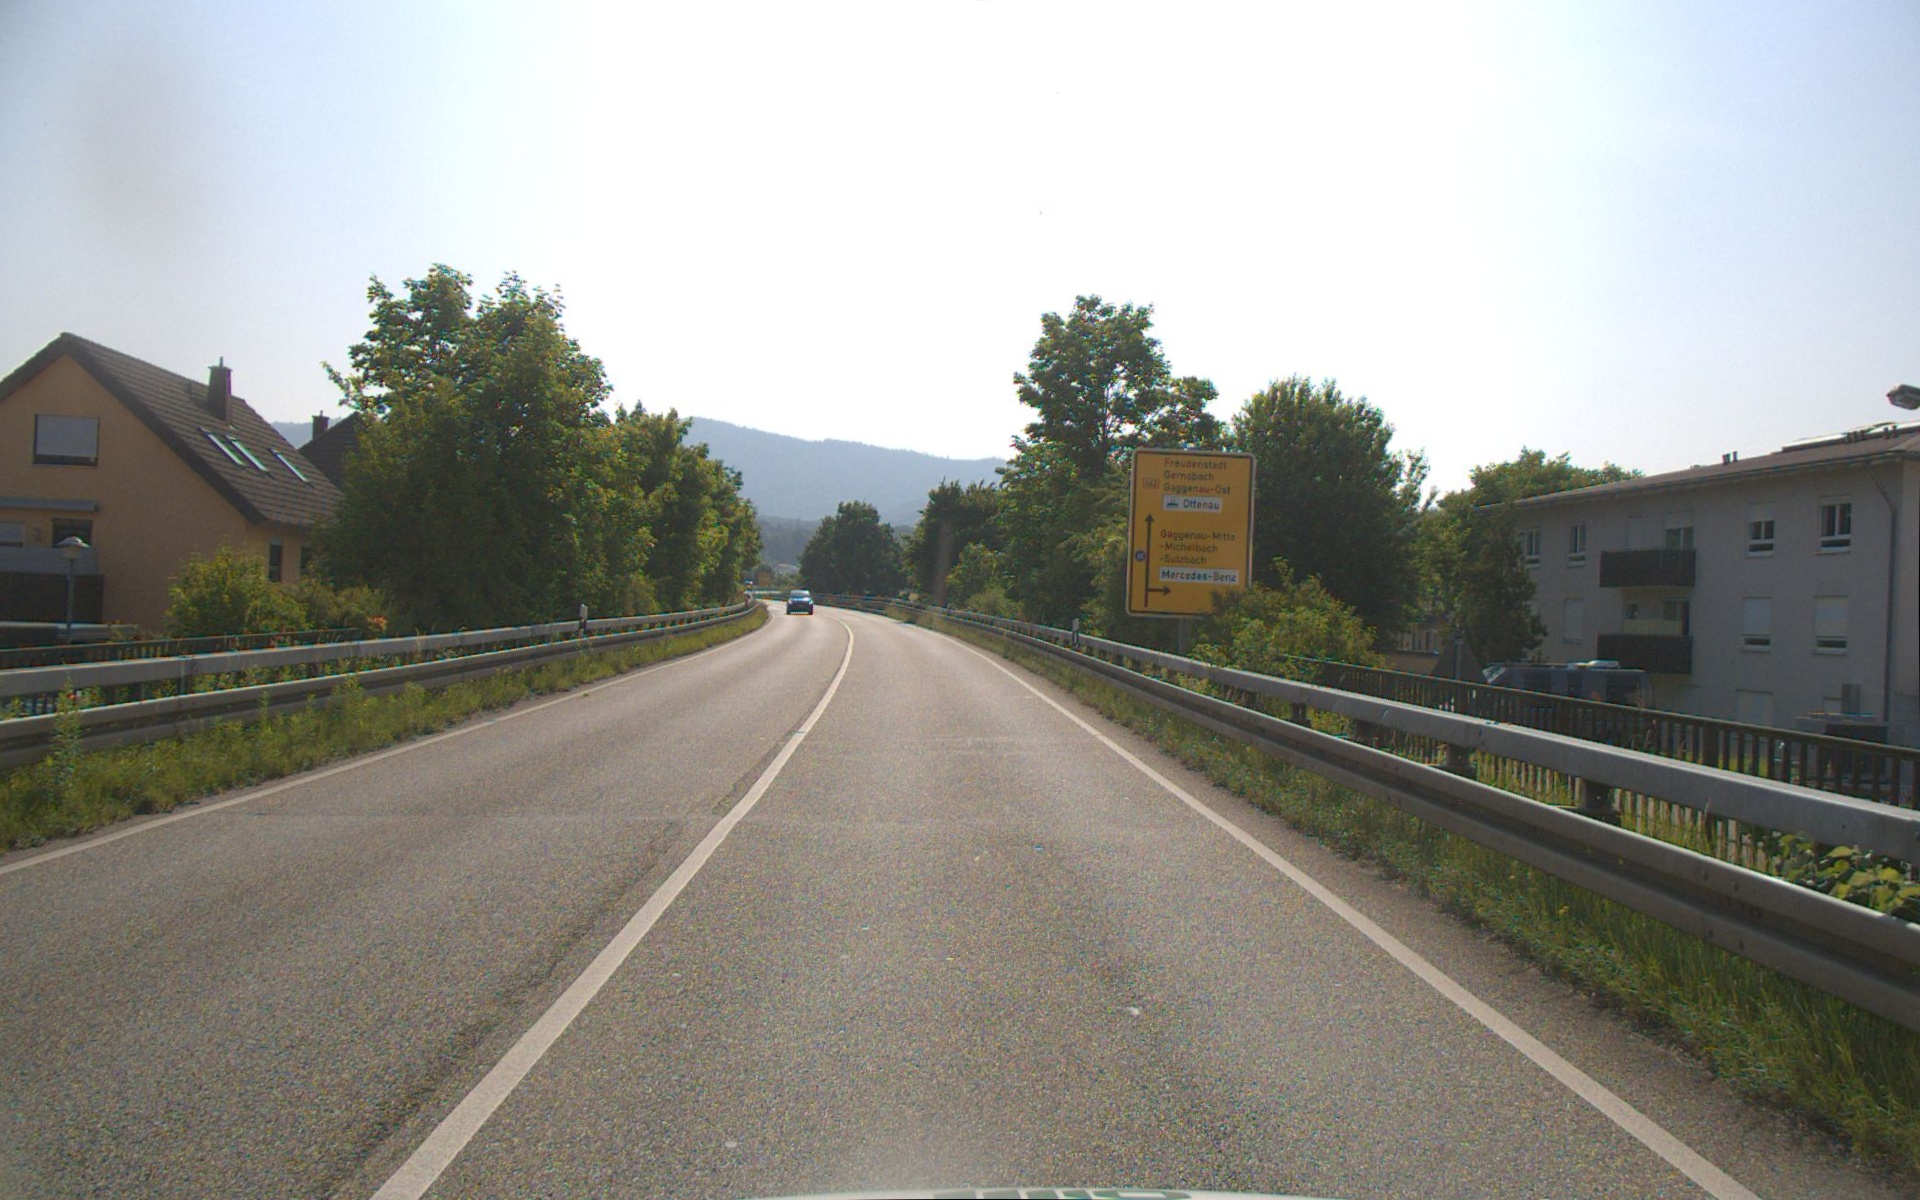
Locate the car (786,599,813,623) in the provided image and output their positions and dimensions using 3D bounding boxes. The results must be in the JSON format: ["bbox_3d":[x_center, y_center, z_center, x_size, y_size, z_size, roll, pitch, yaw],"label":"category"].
[{"bbox_3d":[-10.953,0.725,113.090,1.772,1.588,3.988,0,0,-5],"label":"car"}]

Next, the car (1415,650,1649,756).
[{"bbox_3d":[16.438,2.967,47.715,5.951,2.735,2.311,3,-4,-3],"label":"car"}]

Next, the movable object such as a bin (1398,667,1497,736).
[{"bbox_3d":[16.305,3.384,55.402,2.728,2.049,1.586,3,0,-3],"label":"movable object such as a bin"}]
